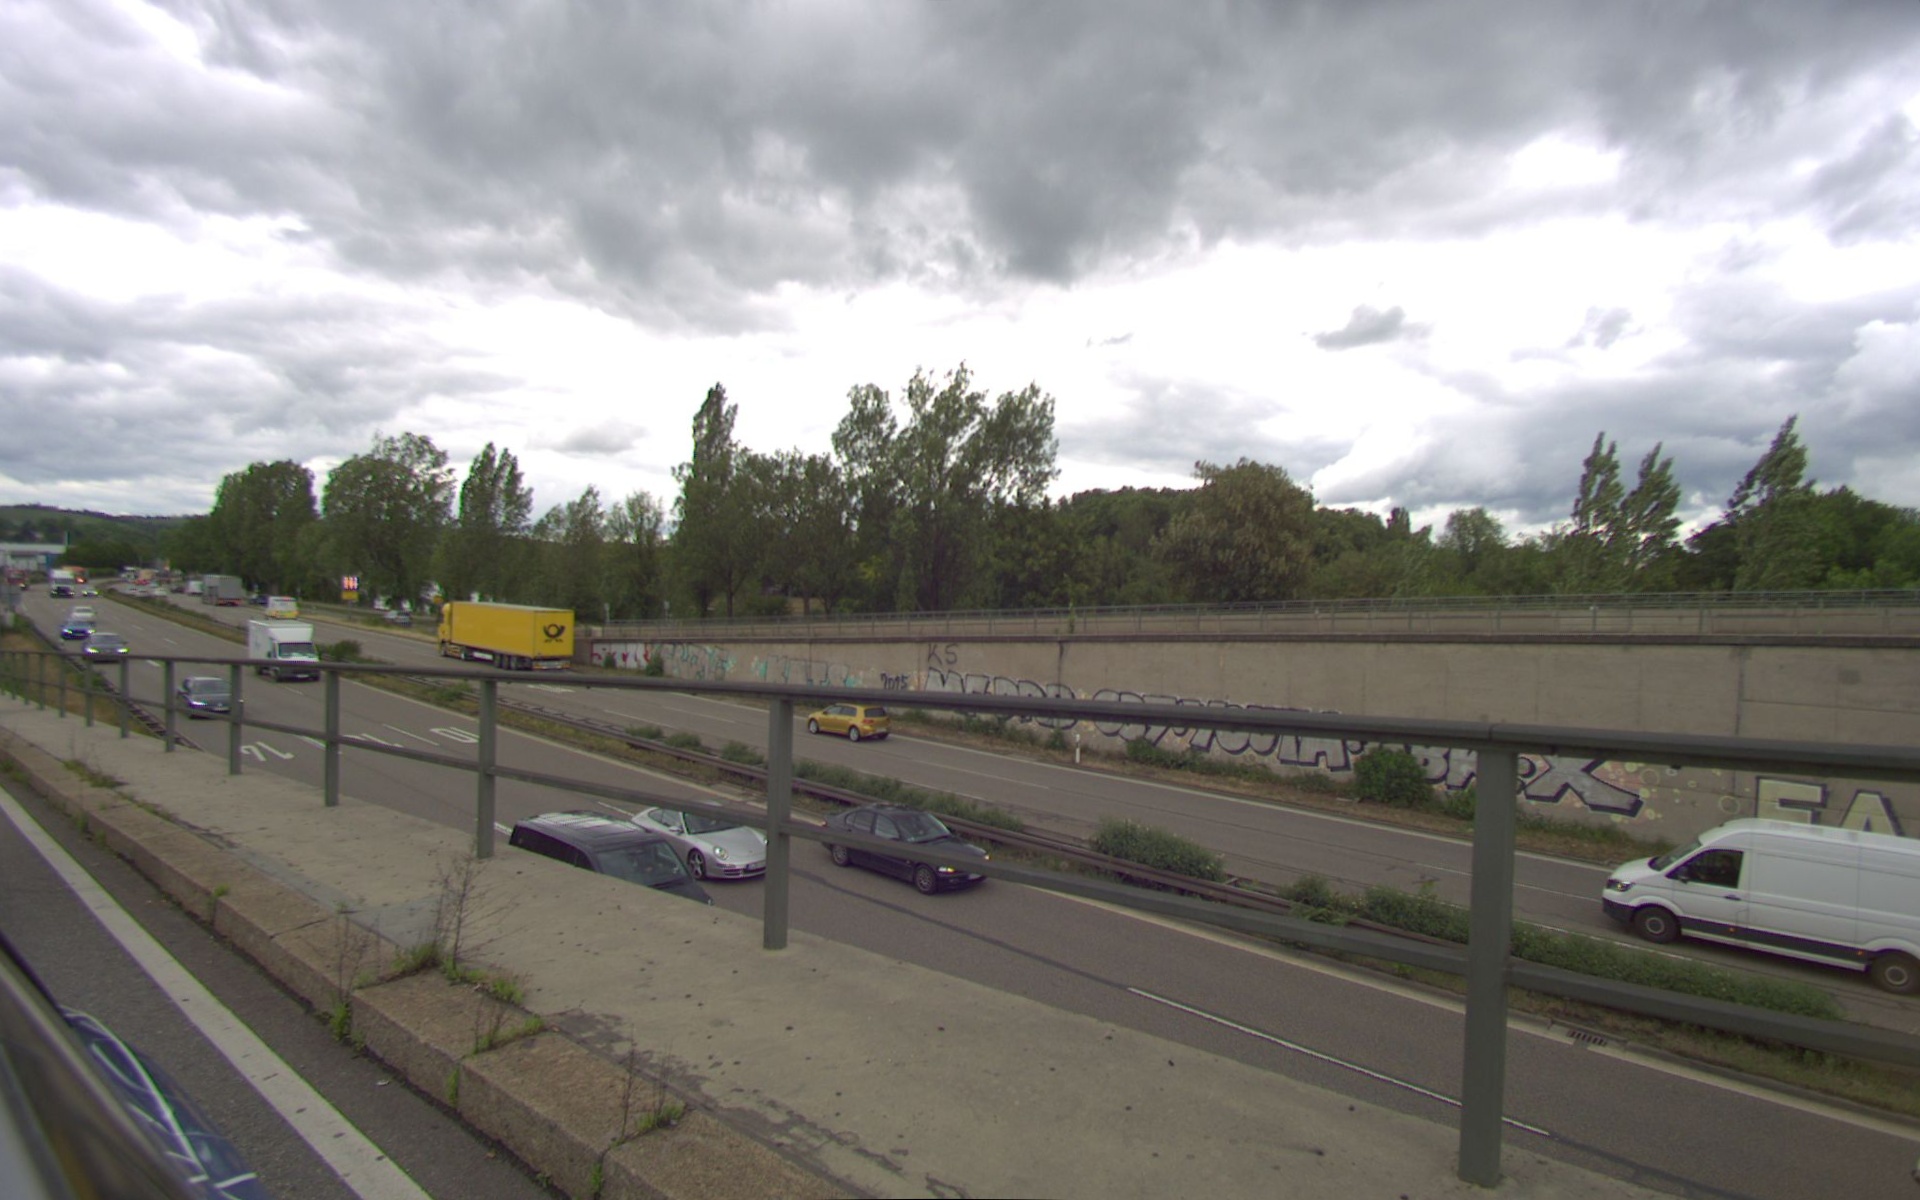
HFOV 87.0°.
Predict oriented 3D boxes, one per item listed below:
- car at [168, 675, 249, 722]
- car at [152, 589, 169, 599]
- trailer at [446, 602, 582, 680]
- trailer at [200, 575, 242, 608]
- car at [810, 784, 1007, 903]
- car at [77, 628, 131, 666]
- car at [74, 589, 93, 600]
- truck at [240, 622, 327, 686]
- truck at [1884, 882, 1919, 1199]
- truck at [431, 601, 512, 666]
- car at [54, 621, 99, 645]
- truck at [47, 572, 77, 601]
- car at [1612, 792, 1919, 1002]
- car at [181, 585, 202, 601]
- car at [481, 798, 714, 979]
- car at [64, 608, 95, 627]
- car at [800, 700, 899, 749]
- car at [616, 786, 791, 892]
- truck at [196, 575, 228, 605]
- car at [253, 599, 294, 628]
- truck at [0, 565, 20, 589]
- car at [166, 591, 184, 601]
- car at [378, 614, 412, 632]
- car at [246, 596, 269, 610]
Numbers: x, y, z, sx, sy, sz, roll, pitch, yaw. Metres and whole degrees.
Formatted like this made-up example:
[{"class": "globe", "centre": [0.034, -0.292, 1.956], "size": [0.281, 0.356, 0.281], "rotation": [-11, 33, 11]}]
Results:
[{"class": "car", "centre": [-30.857, 3.987, 41.515], "size": [4.126, 1.461, 1.804], "rotation": [2, 0, 41]}, {"class": "car", "centre": [-135.520, -1.015, 171.572], "size": [4.002, 1.431, 1.660], "rotation": [3, 0, 44]}, {"class": "trailer", "centre": [-29.724, 2.537, 66.958], "size": [13.685, 4.294, 3.204], "rotation": [2, 0, 44]}, {"class": "trailer", "centre": [-103.972, -1.242, 142.266], "size": [2.755, 4.170, 13.773], "rotation": [1, 1, -45]}, {"class": "car", "centre": [-1.230, 5.328, 22.670], "size": [4.425, 1.476, 1.838], "rotation": [2, 2, 43]}, {"class": "car", "centre": [-50.850, 2.781, 60.087], "size": [4.001, 2.029, 1.971], "rotation": [2, -1, 43]}, {"class": "car", "centre": [-140.555, -0.880, 162.268], "size": [4.439, 1.582, 1.830], "rotation": [3, 2, 43]}, {"class": "truck", "centre": [-37.390, 2.867, 55.815], "size": [7.229, 3.031, 2.210], "rotation": [2, 1, 41]}, {"class": "truck", "centre": [12.052, 4.683, 5.789], "size": [9.870, 3.552, 2.851], "rotation": [2, -1, 42]}, {"class": "truck", "centre": [-34.670, 2.326, 71.758], "size": [5.806, 4.213, 3.204], "rotation": [2, 0, 44]}, {"class": "car", "centre": [-65.408, 2.459, 74.926], "size": [3.999, 1.544, 1.973], "rotation": [2, -1, 41]}, {"class": "truck", "centre": [-134.353, -2.042, 151.405], "size": [2.968, 4.140, 5.880], "rotation": [3, 0, -44]}, {"class": "car", "centre": [16.086, 5.533, 19.055], "size": [6.101, 2.613, 2.144], "rotation": [2, 0, 42]}, {"class": "car", "centre": [-140.199, -1.222, 184.706], "size": [5.180, 2.669, 1.972], "rotation": [2, -3, 42]}, {"class": "car", "centre": [-6.534, 4.936, 18.008], "size": [4.423, 1.853, 1.973], "rotation": [2, 0, 41]}, {"class": "car", "centre": [-79.783, 1.600, 91.691], "size": [3.337, 1.539, 1.745], "rotation": [2, 0, 43]}, {"class": "car", "centre": [-4.695, 5.181, 42.670], "size": [4.152, 1.468, 1.848], "rotation": [2, 0, 41]}, {"class": "car", "centre": [-5.788, 5.229, 22.607], "size": [4.153, 1.311, 1.766], "rotation": [3, 0, 43]}, {"class": "truck", "centre": [-108.697, -1.494, 147.027], "size": [2.755, 4.170, 5.940], "rotation": [1, 1, -45]}, {"class": "car", "centre": [-71.058, 1.394, 104.706], "size": [6.715, 2.648, 1.972], "rotation": [2, -1, 43]}, {"class": "truck", "centre": [-173.191, -4.132, 184.040], "size": [3.059, 4.040, 8.497], "rotation": [1, 2, -45]}, {"class": "car", "centre": [-154.574, -0.804, 199.260], "size": [4.562, 1.831, 1.861], "rotation": [2, -3, 42]}, {"class": "car", "centre": [-59.203, 2.399, 105.992], "size": [4.378, 1.664, 1.872], "rotation": [1, 2, 43]}, {"class": "car", "centre": [-103.618, 0.438, 149.209], "size": [1.970, 1.914, 4.587], "rotation": [6, -3, -44]}]
